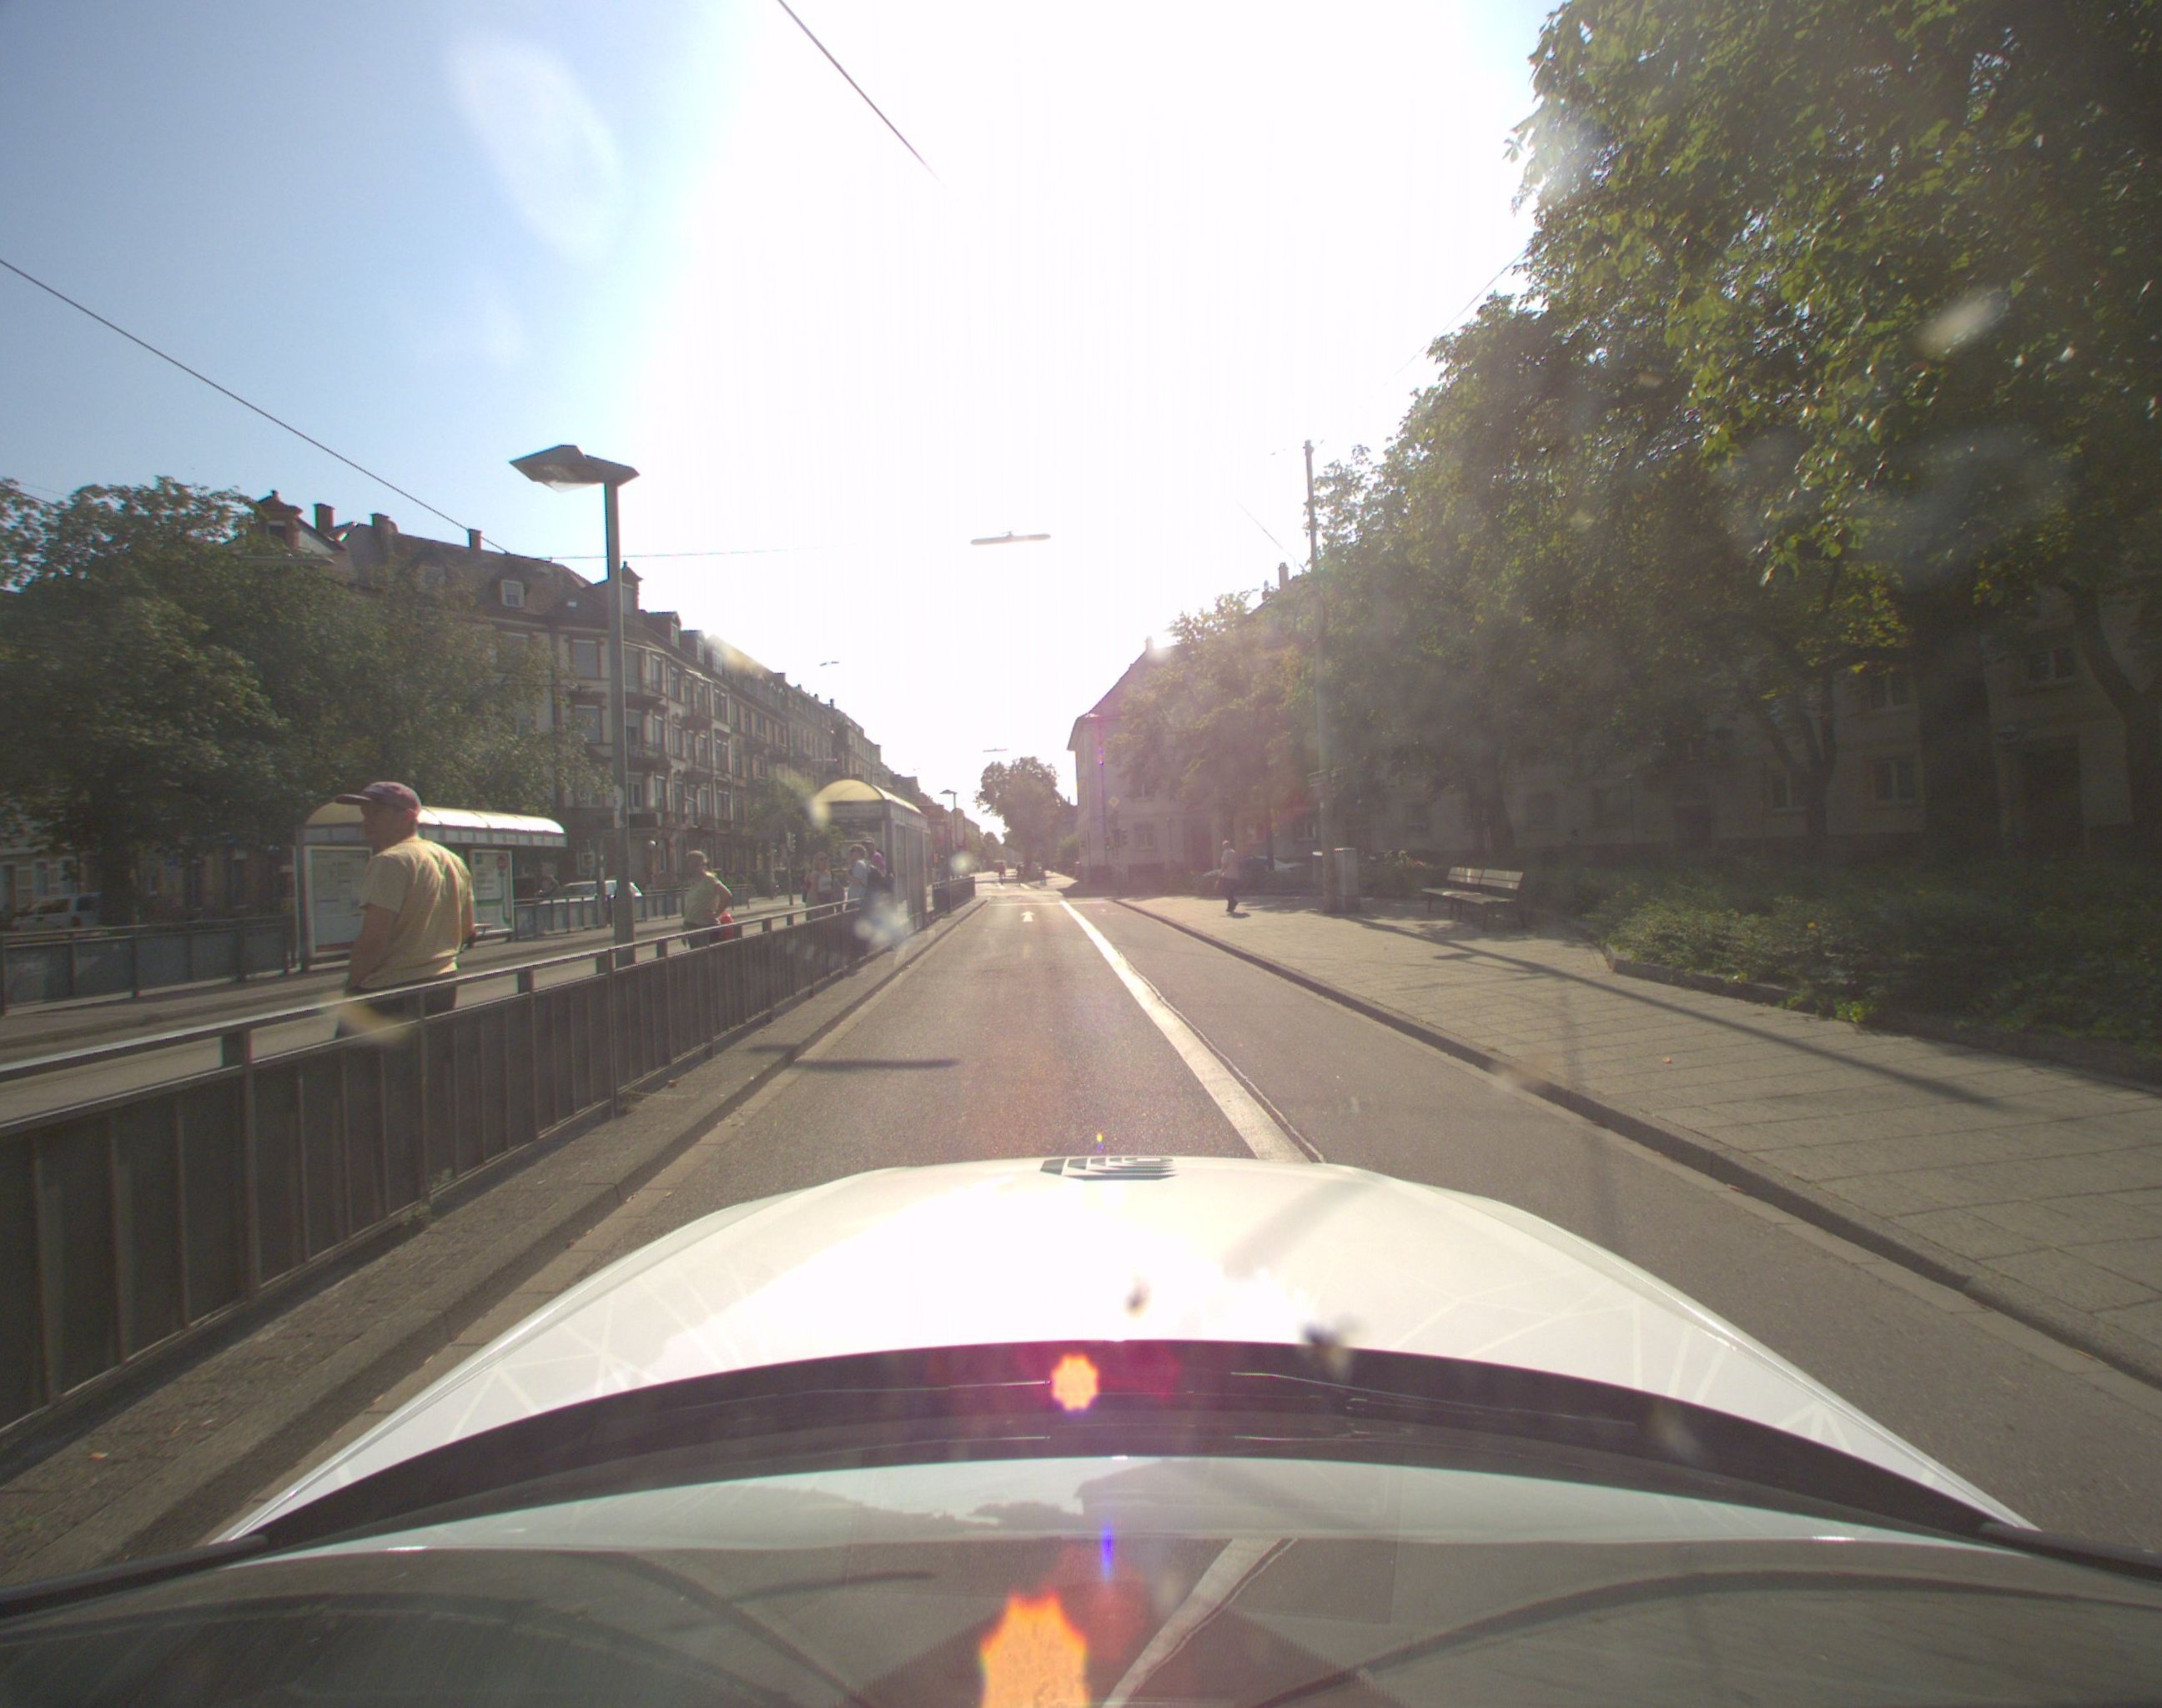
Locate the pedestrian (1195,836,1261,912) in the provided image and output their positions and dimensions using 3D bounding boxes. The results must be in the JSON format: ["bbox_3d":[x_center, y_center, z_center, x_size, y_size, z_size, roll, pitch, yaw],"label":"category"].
[{"bbox_3d":[3.583,0.491,19.917,1.083,1.724,0.960,-5,-1,-28],"label":"pedestrian"}]

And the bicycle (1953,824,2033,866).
[{"bbox_3d":[24.346,-0.222,21.772,0.414,1.060,1.488,-3,-1,0],"label":"bicycle"}]

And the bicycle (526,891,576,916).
[{"bbox_3d":[-23.759,2.211,36.549,1.796,1.014,0.651,-2,-1,-31],"label":"bicycle"}]

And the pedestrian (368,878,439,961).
[{"bbox_3d":[-12.524,1.196,15.070,0.675,1.456,0.717,-3,-1,-3],"label":"pedestrian"}]

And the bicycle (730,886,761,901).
[{"bbox_3d":[-21.493,2.539,52.234,0.521,0.860,1.840,-3,-1,34],"label":"bicycle"}]

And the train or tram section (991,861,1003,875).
[{"bbox_3d":[-23.219,3.950,226.697,2.729,3.506,15.408,-2,-1,-4],"label":"train or tram section"}]

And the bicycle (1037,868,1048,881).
[{"bbox_3d":[-3.560,1.890,74.923,0.771,1.104,2.328,-3,-1,-6],"label":"bicycle"}]

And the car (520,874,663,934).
[{"bbox_3d":[-15.770,1.544,26.576,1.988,1.651,4.478,-3,-1,-2],"label":"car"}]

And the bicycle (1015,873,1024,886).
[{"bbox_3d":[-4.553,1.910,60.535,0.653,0.909,1.772,-1,-1,-4],"label":"bicycle"}]

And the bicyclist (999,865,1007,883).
[{"bbox_3d":[-6.042,1.554,63.104,0.625,1.401,0.928,-1,-1,-5],"label":"bicyclist"}]

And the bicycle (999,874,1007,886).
[{"bbox_3d":[-6.039,2.022,63.083,0.625,0.909,1.522,-1,-1,-4],"label":"bicycle"}]

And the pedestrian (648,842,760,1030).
[{"bbox_3d":[-3.600,0.743,7.862,0.814,1.654,0.862,-2,-1,-18],"label":"pedestrian"}]

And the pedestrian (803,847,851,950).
[{"bbox_3d":[-4.390,0.752,14.118,0.587,1.721,0.606,-3,-1,-2],"label":"pedestrian"}]

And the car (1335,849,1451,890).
[{"bbox_3d":[12.283,0.633,32.228,1.760,1.451,3.845,-4,1,-38],"label":"car"}]

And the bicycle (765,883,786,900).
[{"bbox_3d":[-19.700,2.411,52.563,0.617,1.007,2.147,-3,-1,-4],"label":"bicycle"}]

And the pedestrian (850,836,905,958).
[{"bbox_3d":[-3.199,0.661,12.840,0.635,1.848,0.633,-3,-1,-2],"label":"pedestrian"}]

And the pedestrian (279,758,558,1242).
[{"bbox_3d":[-2.727,0.551,3.423,0.557,1.803,0.676,-3,-1,-1],"label":"pedestrian"}]

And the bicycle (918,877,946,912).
[{"bbox_3d":[-5.042,1.359,27.659,0.470,1.104,1.739,-3,-1,5],"label":"bicycle"}]

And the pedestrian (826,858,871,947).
[{"bbox_3d":[-4.214,0.863,14.769,0.587,1.544,0.606,-3,-1,-2],"label":"pedestrian"}]

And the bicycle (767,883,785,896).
[{"bbox_3d":[-20.942,2.436,55.993,0.524,0.860,1.827,-2,-1,-1],"label":"bicycle"}]

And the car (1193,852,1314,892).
[{"bbox_3d":[7.666,0.814,36.452,4.889,1.469,1.889,-4,1,37],"label":"car"}]

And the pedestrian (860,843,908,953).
[{"bbox_3d":[-3.270,0.722,13.560,0.587,1.764,0.606,-3,-1,-2],"label":"pedestrian"}]

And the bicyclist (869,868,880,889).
[{"bbox_3d":[-17.012,2.010,67.112,0.671,1.614,1.043,-2,-1,-2],"label":"bicyclist"}]

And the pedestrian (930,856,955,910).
[{"bbox_3d":[-4.690,0.964,27.598,0.688,1.766,0.795,-2,-1,-5],"label":"pedestrian"}]

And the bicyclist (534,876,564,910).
[{"bbox_3d":[-23.848,1.727,36.517,1.083,1.441,0.651,-2,-1,-31],"label":"bicyclist"}]

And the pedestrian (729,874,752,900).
[{"bbox_3d":[-21.320,2.061,50.962,0.831,1.571,0.951,-3,-1,30],"label":"pedestrian"}]

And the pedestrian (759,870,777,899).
[{"bbox_3d":[-20.079,1.957,52.295,0.726,1.806,1.091,-2,-1,-5],"label":"pedestrian"}]

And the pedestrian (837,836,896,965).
[{"bbox_3d":[-3.194,0.672,12.172,0.635,1.848,0.633,-3,-1,-2],"label":"pedestrian"}]

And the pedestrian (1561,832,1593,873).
[{"bbox_3d":[21.226,-0.064,34.853,0.690,1.671,0.857,-2,-1,-31],"label":"pedestrian"}]

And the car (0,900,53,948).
[{"bbox_3d":[-48.634,3.164,36.287,4.539,2.016,2.090,-3,-1,19],"label":"car"}]

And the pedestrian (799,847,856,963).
[{"bbox_3d":[-3.969,0.786,12.775,0.635,1.748,0.633,-3,-1,-2],"label":"pedestrian"}]

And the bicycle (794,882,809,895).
[{"bbox_3d":[-20.771,2.554,60.615,0.524,0.927,1.702,-2,-1,-1],"label":"bicycle"}]

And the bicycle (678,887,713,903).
[{"bbox_3d":[-23.319,2.470,49.288,0.521,0.860,1.840,-3,-1,34],"label":"bicycle"}]

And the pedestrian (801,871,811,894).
[{"bbox_3d":[-20.655,2.165,61.182,0.638,1.678,0.630,-2,-1,-16],"label":"pedestrian"}]

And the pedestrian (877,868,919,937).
[{"bbox_3d":[-3.813,0.990,17.027,0.706,1.378,0.621,-3,-1,-4],"label":"pedestrian"}]

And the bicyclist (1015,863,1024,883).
[{"bbox_3d":[-4.551,1.422,60.533,0.653,1.474,0.907,-1,-1,-5],"label":"bicyclist"}]

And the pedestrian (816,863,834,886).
[{"bbox_3d":[-19.786,1.571,62.977,0.902,1.766,1.185,-2,-1,0],"label":"pedestrian"}]

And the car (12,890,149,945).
[{"bbox_3d":[-41.519,2.635,33.815,4.539,2.016,2.090,-3,-1,19],"label":"car"}]

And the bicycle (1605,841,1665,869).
[{"bbox_3d":[21.483,0.036,31.643,0.535,1.007,1.894,-2,-1,-24],"label":"bicycle"}]

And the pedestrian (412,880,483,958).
[{"bbox_3d":[-12.551,1.264,16.149,0.790,1.456,0.717,-3,-1,-3],"label":"pedestrian"}]

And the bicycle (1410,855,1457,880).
[{"bbox_3d":[15.663,0.588,36.210,0.611,1.058,1.819,-2,1,-36],"label":"bicycle"}]

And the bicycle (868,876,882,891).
[{"bbox_3d":[-16.965,2.428,67.048,0.682,1.103,2.068,-2,-1,-2],"label":"bicycle"}]
